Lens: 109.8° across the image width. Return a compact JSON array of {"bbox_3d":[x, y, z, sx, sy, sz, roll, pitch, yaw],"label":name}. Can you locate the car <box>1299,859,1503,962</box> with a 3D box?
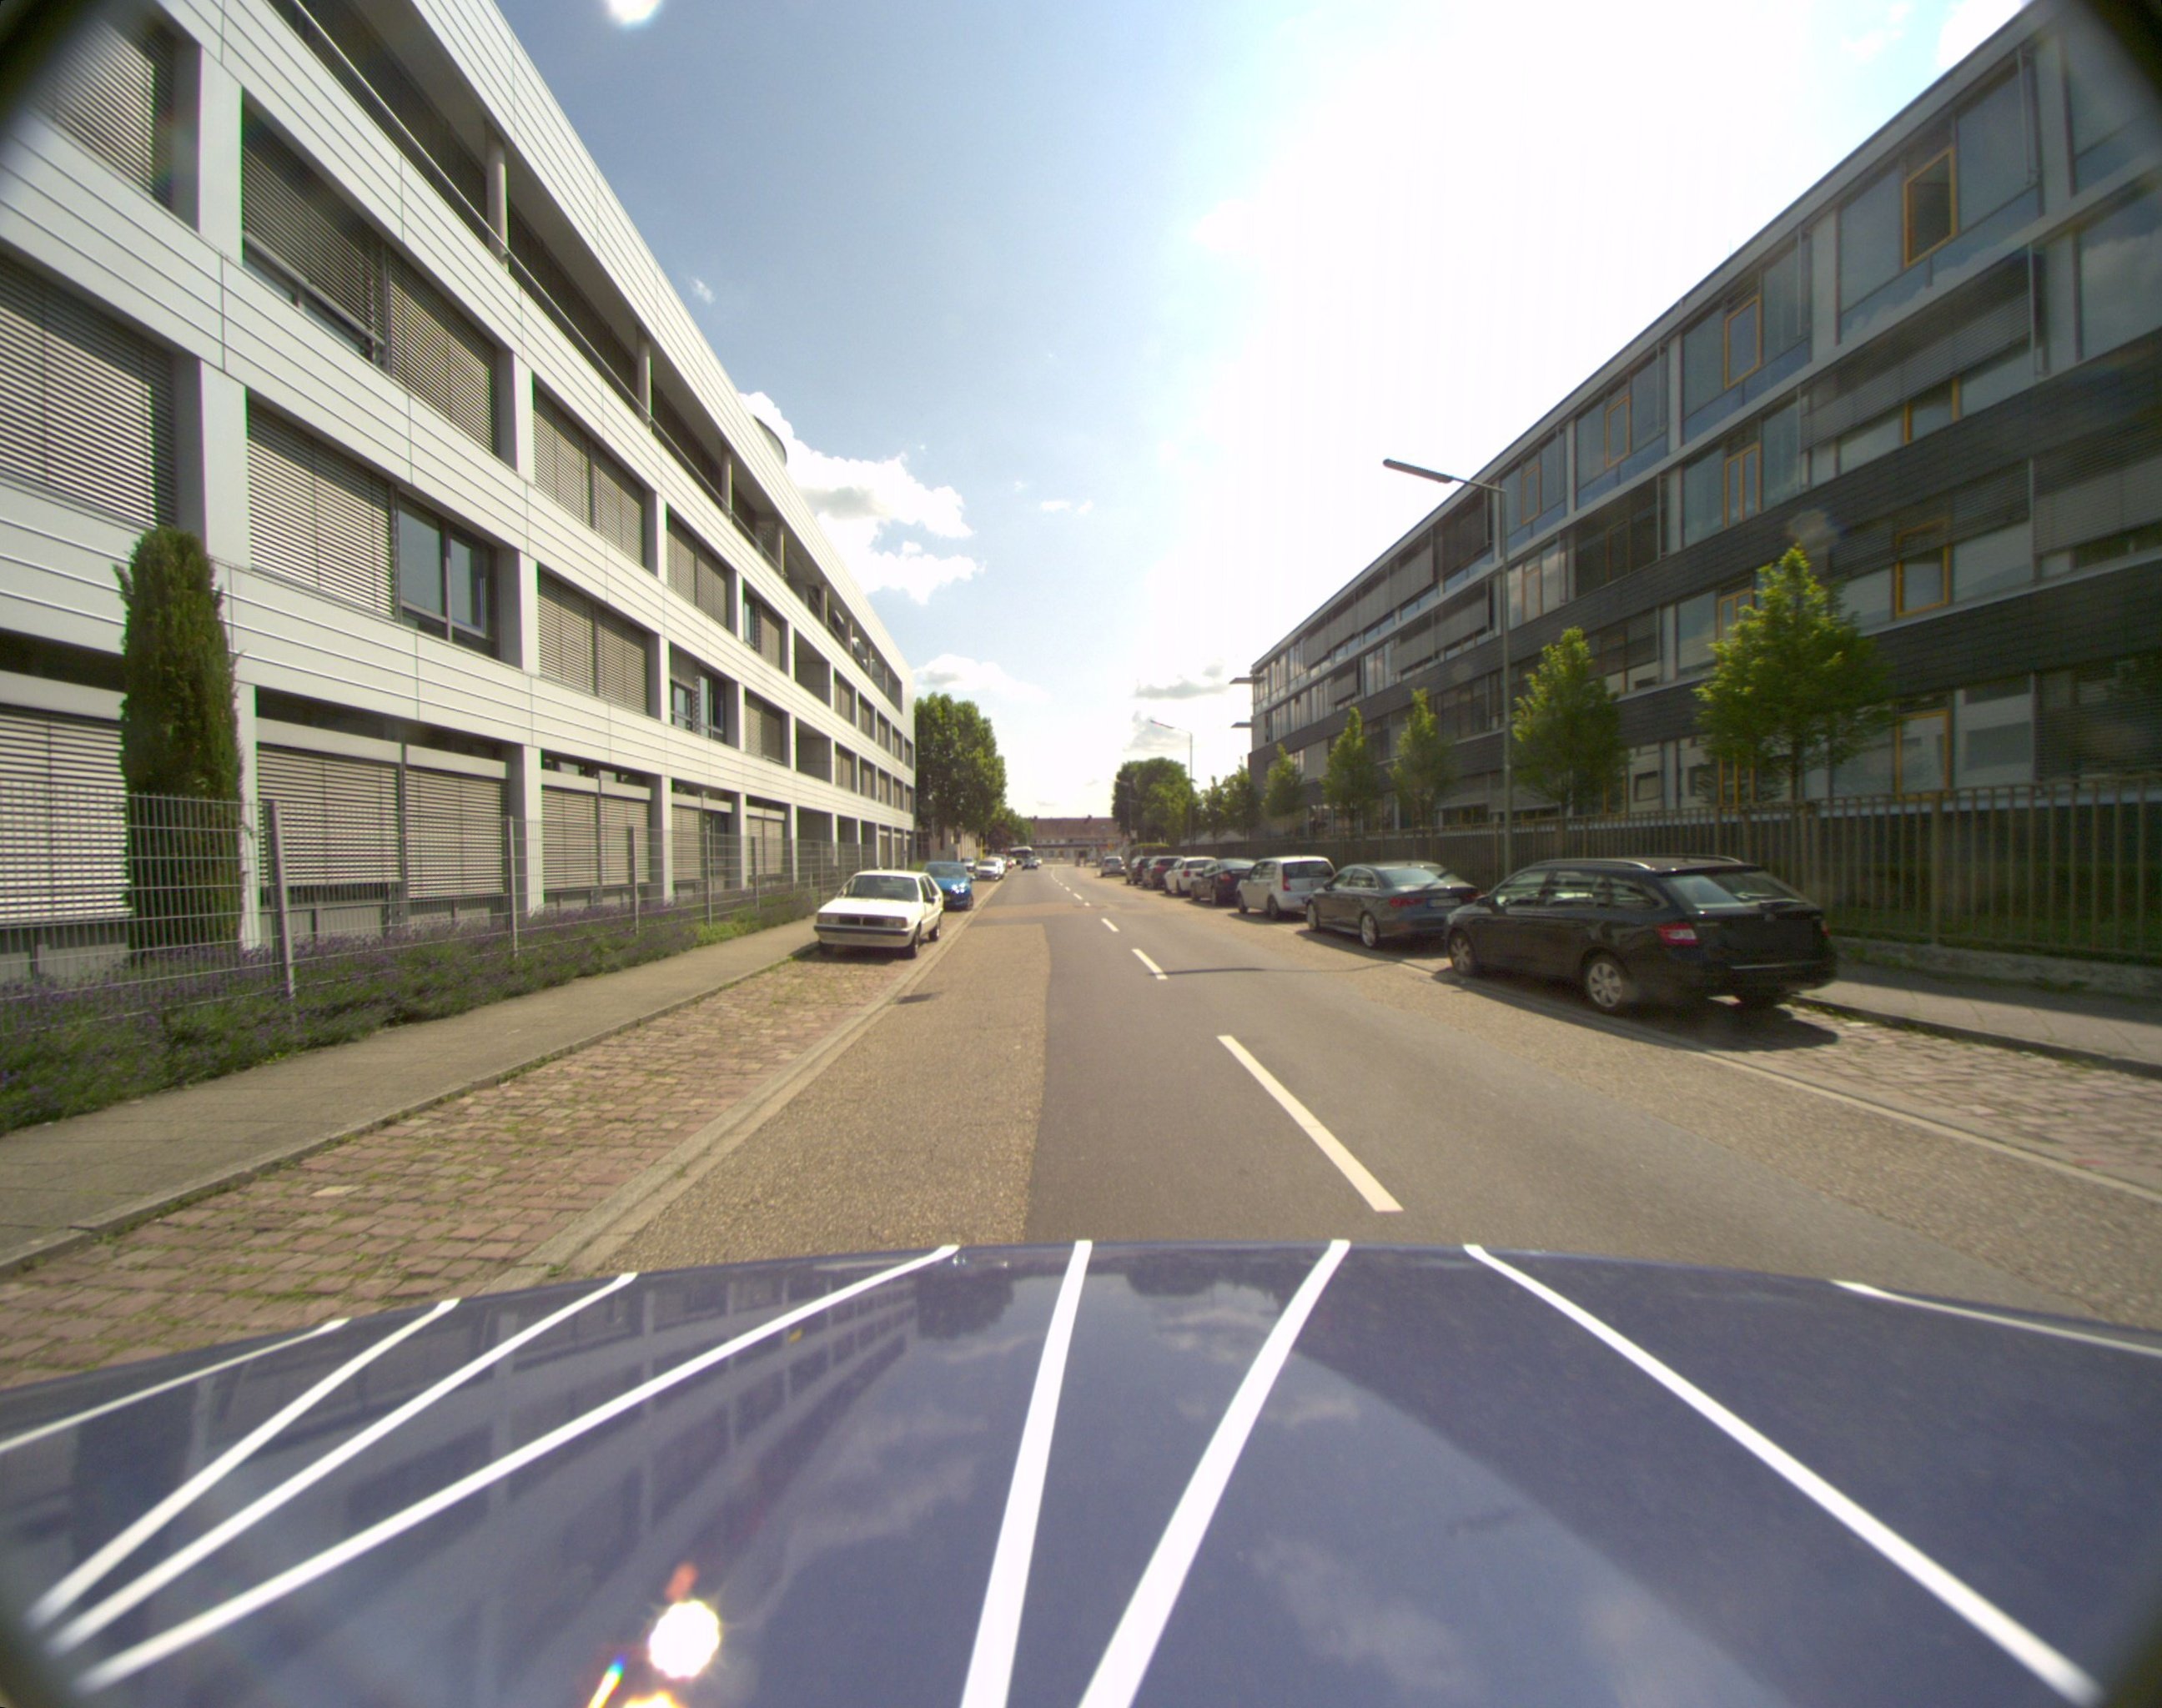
[{"bbox_3d":[5.409,0.864,13.472,1.666,1.389,4.104,-3,1,-3],"label":"car"}]

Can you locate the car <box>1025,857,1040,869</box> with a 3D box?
[{"bbox_3d":[-5.557,1.011,86.422,1.660,1.279,3.741,2,0,-4],"label":"car"}]

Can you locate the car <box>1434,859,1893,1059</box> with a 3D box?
[{"bbox_3d":[5.660,0.858,8.149,1.666,1.521,3.999,-3,0,-3],"label":"car"}]

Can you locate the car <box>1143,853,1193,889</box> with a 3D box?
[{"bbox_3d":[3.923,0.731,34.755,1.568,1.506,3.741,0,0,-4],"label":"car"}]

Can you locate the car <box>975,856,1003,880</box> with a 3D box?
[{"bbox_3d":[-6.108,0.918,50.872,1.660,1.506,3.741,2,0,-4],"label":"car"}]

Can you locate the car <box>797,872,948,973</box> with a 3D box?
[{"bbox_3d":[-3.519,1.090,13.605,1.677,1.360,4.157,3,0,-3],"label":"car"}]

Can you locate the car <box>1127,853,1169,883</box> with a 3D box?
[{"bbox_3d":[3.488,0.701,40.166,1.568,1.506,4.034,0,0,-4],"label":"car"}]

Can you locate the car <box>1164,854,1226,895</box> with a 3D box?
[{"bbox_3d":[4.282,0.751,29.099,1.568,1.446,3.741,0,0,-4],"label":"car"}]

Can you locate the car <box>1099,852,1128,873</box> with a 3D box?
[{"bbox_3d":[2.393,0.674,56.754,1.677,1.506,3.742,0,-1,-4],"label":"car"}]

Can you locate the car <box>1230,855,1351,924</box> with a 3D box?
[{"bbox_3d":[5.080,0.798,18.905,1.666,1.473,3.514,-3,0,-6],"label":"car"}]

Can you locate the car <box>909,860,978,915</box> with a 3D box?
[{"bbox_3d":[-4.223,0.974,23.840,1.814,1.496,3.997,3,0,-7],"label":"car"}]

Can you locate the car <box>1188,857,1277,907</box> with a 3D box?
[{"bbox_3d":[4.674,0.816,23.985,1.671,1.396,3.998,-2,0,-5],"label":"car"}]
